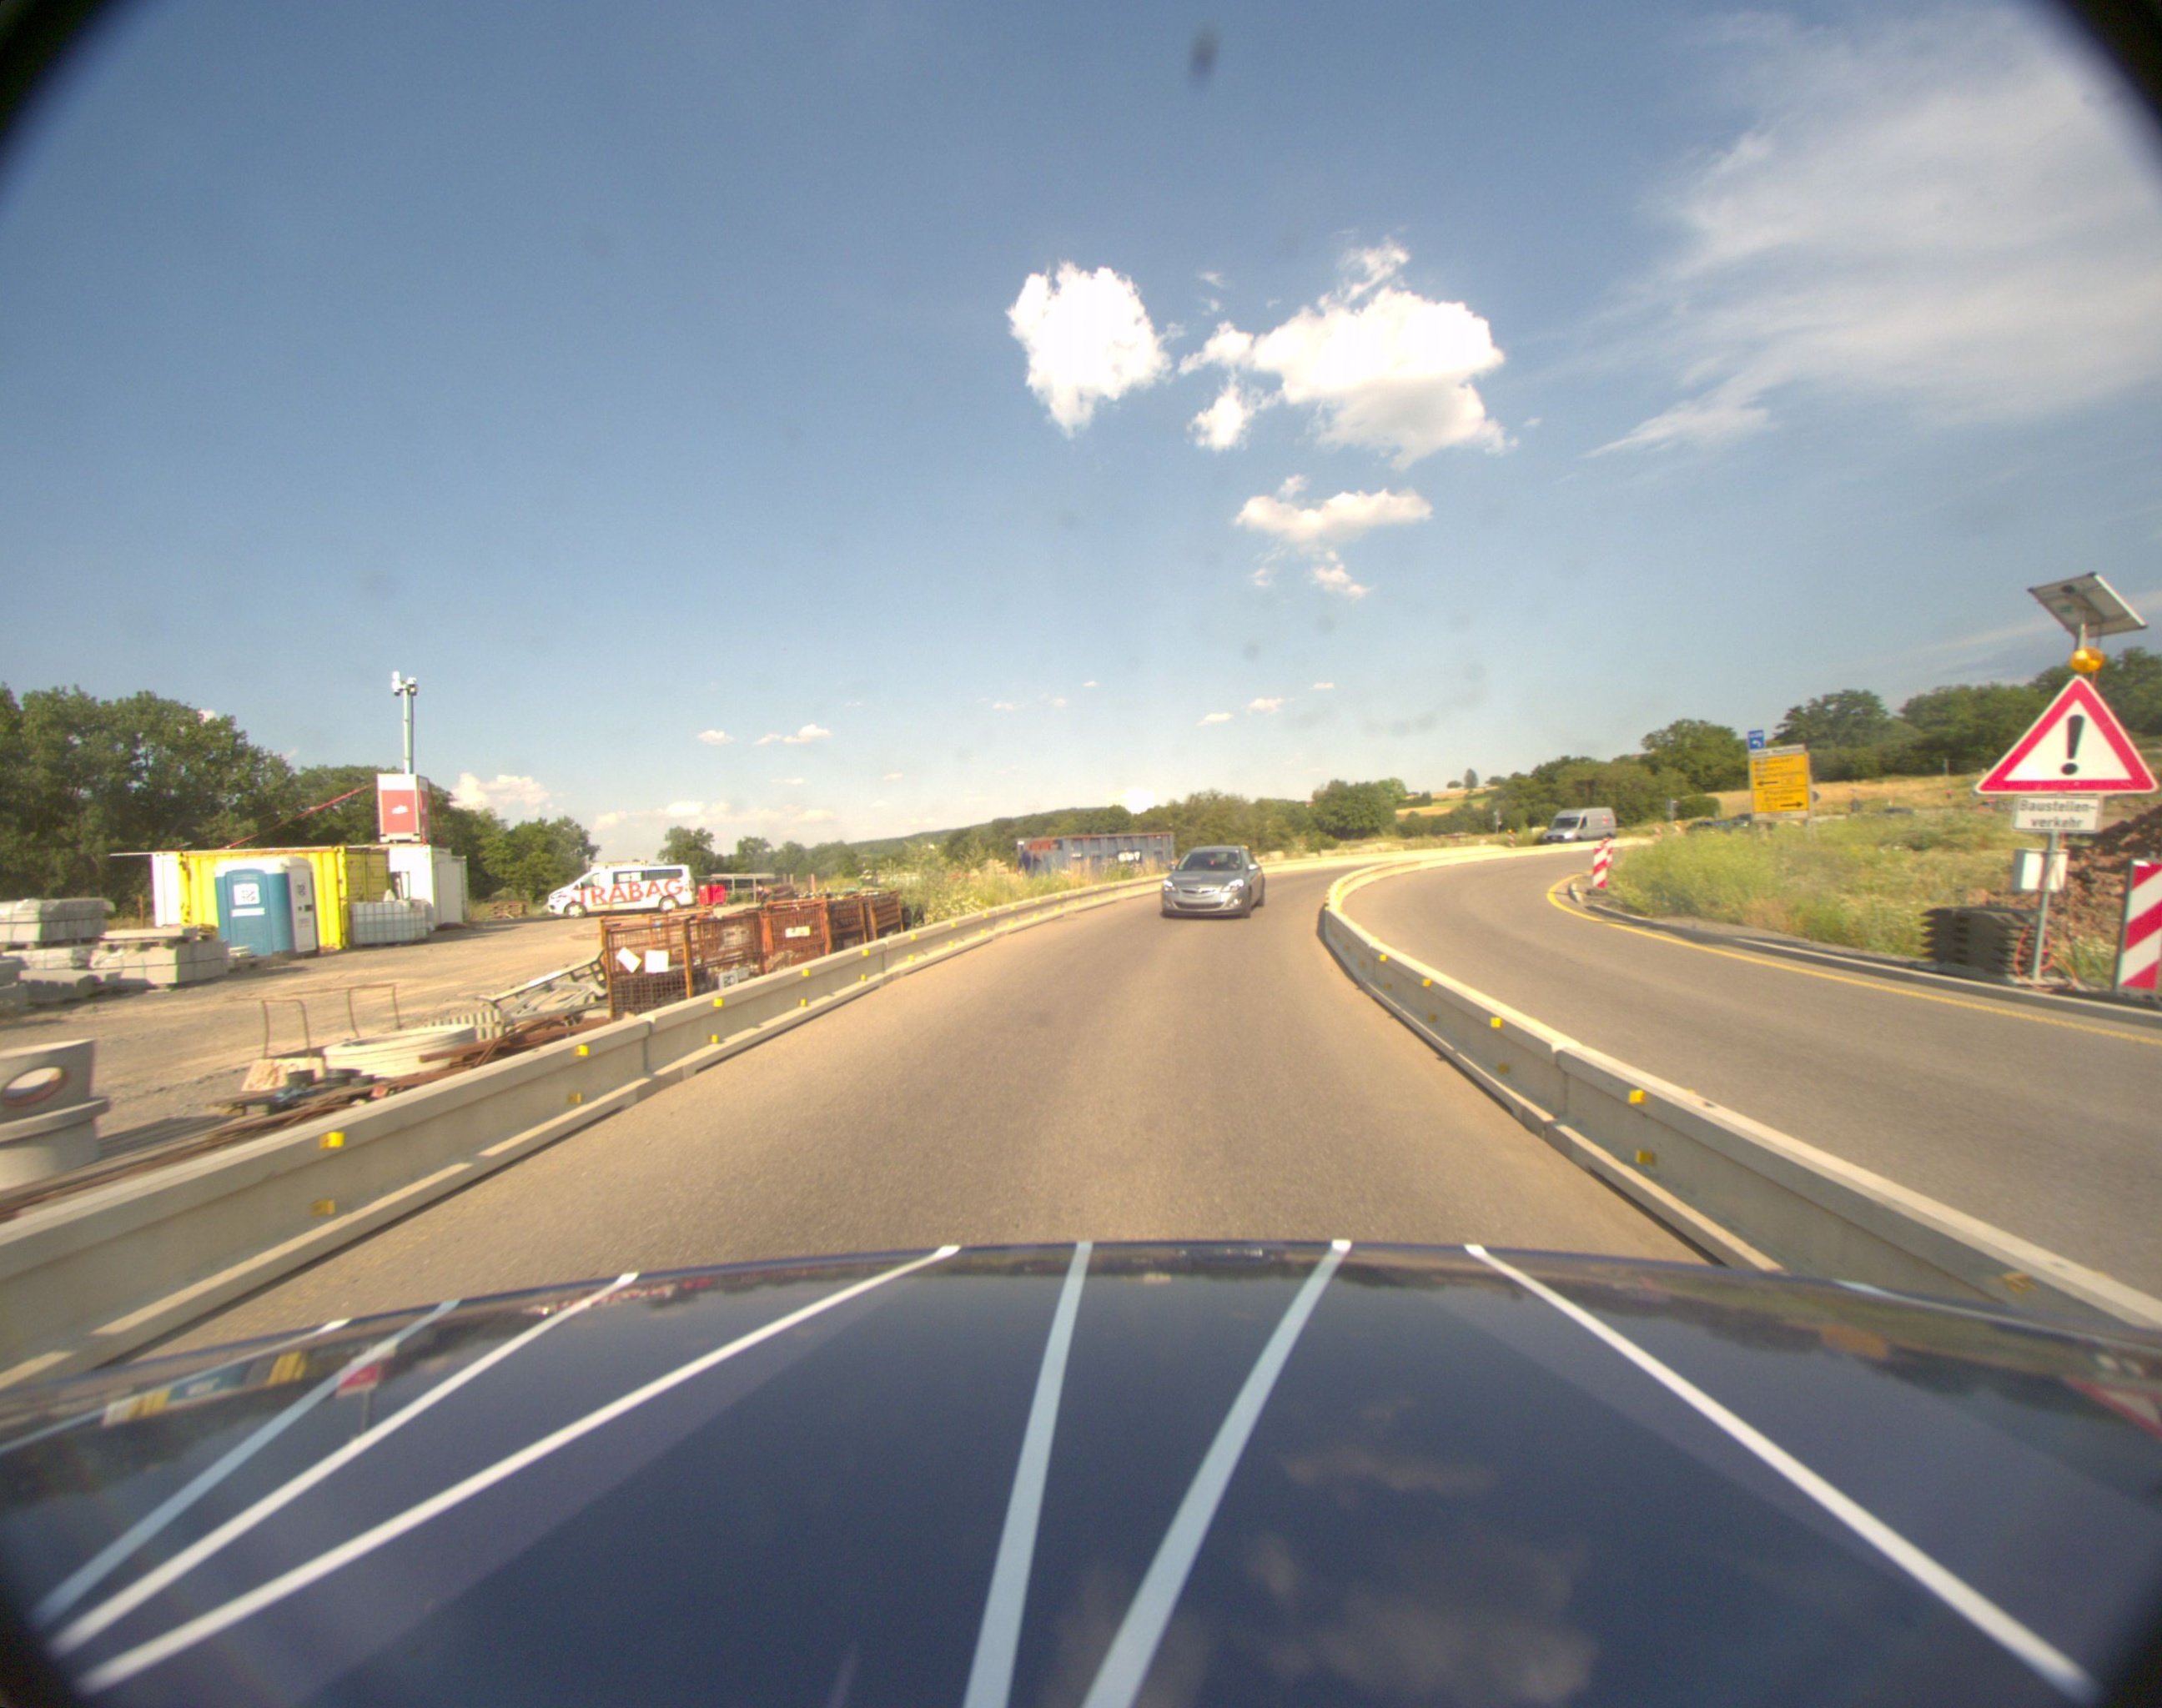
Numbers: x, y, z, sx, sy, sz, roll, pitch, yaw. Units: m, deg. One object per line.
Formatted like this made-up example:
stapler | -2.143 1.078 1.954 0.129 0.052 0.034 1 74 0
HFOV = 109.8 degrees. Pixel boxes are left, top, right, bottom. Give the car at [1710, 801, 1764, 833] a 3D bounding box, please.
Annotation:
car | 53.039 -2.976 61.422 4.005 2.389 1.873 -4 1 -28

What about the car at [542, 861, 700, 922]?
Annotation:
car | -19.047 1.468 31.846 5.326 2.067 2.482 -4 1 -26

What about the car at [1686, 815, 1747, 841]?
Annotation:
car | 41.621 -1.721 49.740 4.522 1.510 1.711 -3 2 -31

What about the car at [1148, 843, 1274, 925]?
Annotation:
car | 2.976 0.571 16.595 1.745 1.476 4.258 -3 0 23

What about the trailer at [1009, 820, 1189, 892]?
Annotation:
trailer | 0.912 0.017 30.483 3.006 2.400 7.241 -3 0 43

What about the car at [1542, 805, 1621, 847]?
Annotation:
car | 33.205 -1.861 50.353 5.805 2.487 1.913 -4 1 -30
